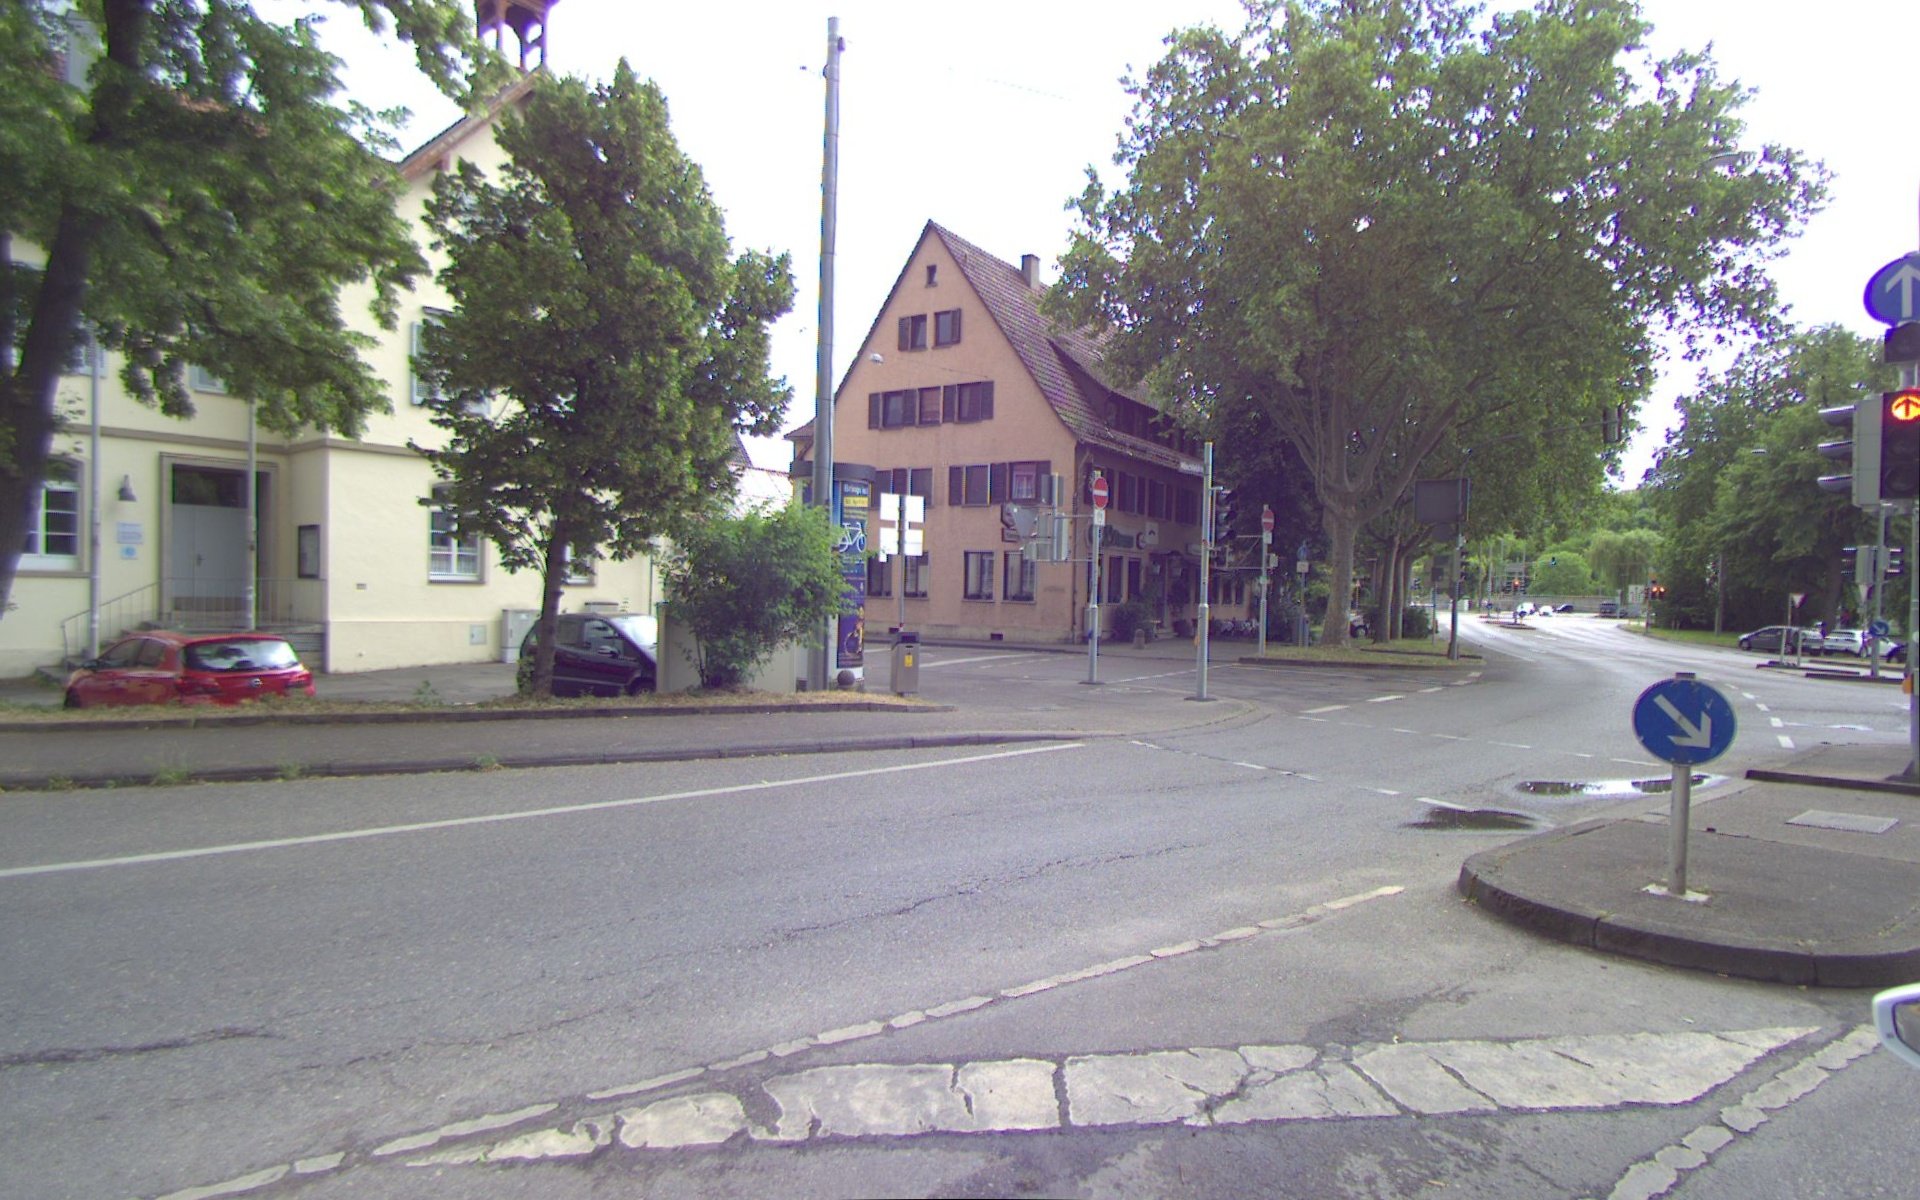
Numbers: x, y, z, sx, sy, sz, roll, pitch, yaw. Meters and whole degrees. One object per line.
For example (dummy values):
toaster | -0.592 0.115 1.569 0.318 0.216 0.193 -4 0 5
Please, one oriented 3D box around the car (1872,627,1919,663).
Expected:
car | 39.447 1.859 40.765 1.746 1.370 3.326 2 0 -2

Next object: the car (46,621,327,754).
car | -10.274 1.048 13.300 3.653 1.401 1.659 2 0 30

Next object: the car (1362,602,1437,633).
car | 25.728 1.007 58.783 3.924 1.706 1.998 1 0 25

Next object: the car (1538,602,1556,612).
car | 90.820 1.102 155.404 1.469 1.436 3.028 3 0 11

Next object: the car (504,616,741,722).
car | -5.530 1.053 16.438 3.507 1.459 1.644 2 0 26

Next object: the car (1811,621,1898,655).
car | 47.461 2.038 53.327 3.696 1.662 1.859 2 0 -19

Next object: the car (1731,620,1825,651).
car | 43.817 1.876 53.908 1.592 1.485 3.778 2 0 -11

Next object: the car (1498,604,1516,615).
car | 85.255 1.484 156.598 1.553 1.506 3.337 3 0 12

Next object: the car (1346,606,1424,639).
car | 23.996 1.251 56.707 3.924 1.706 1.998 1 0 25
